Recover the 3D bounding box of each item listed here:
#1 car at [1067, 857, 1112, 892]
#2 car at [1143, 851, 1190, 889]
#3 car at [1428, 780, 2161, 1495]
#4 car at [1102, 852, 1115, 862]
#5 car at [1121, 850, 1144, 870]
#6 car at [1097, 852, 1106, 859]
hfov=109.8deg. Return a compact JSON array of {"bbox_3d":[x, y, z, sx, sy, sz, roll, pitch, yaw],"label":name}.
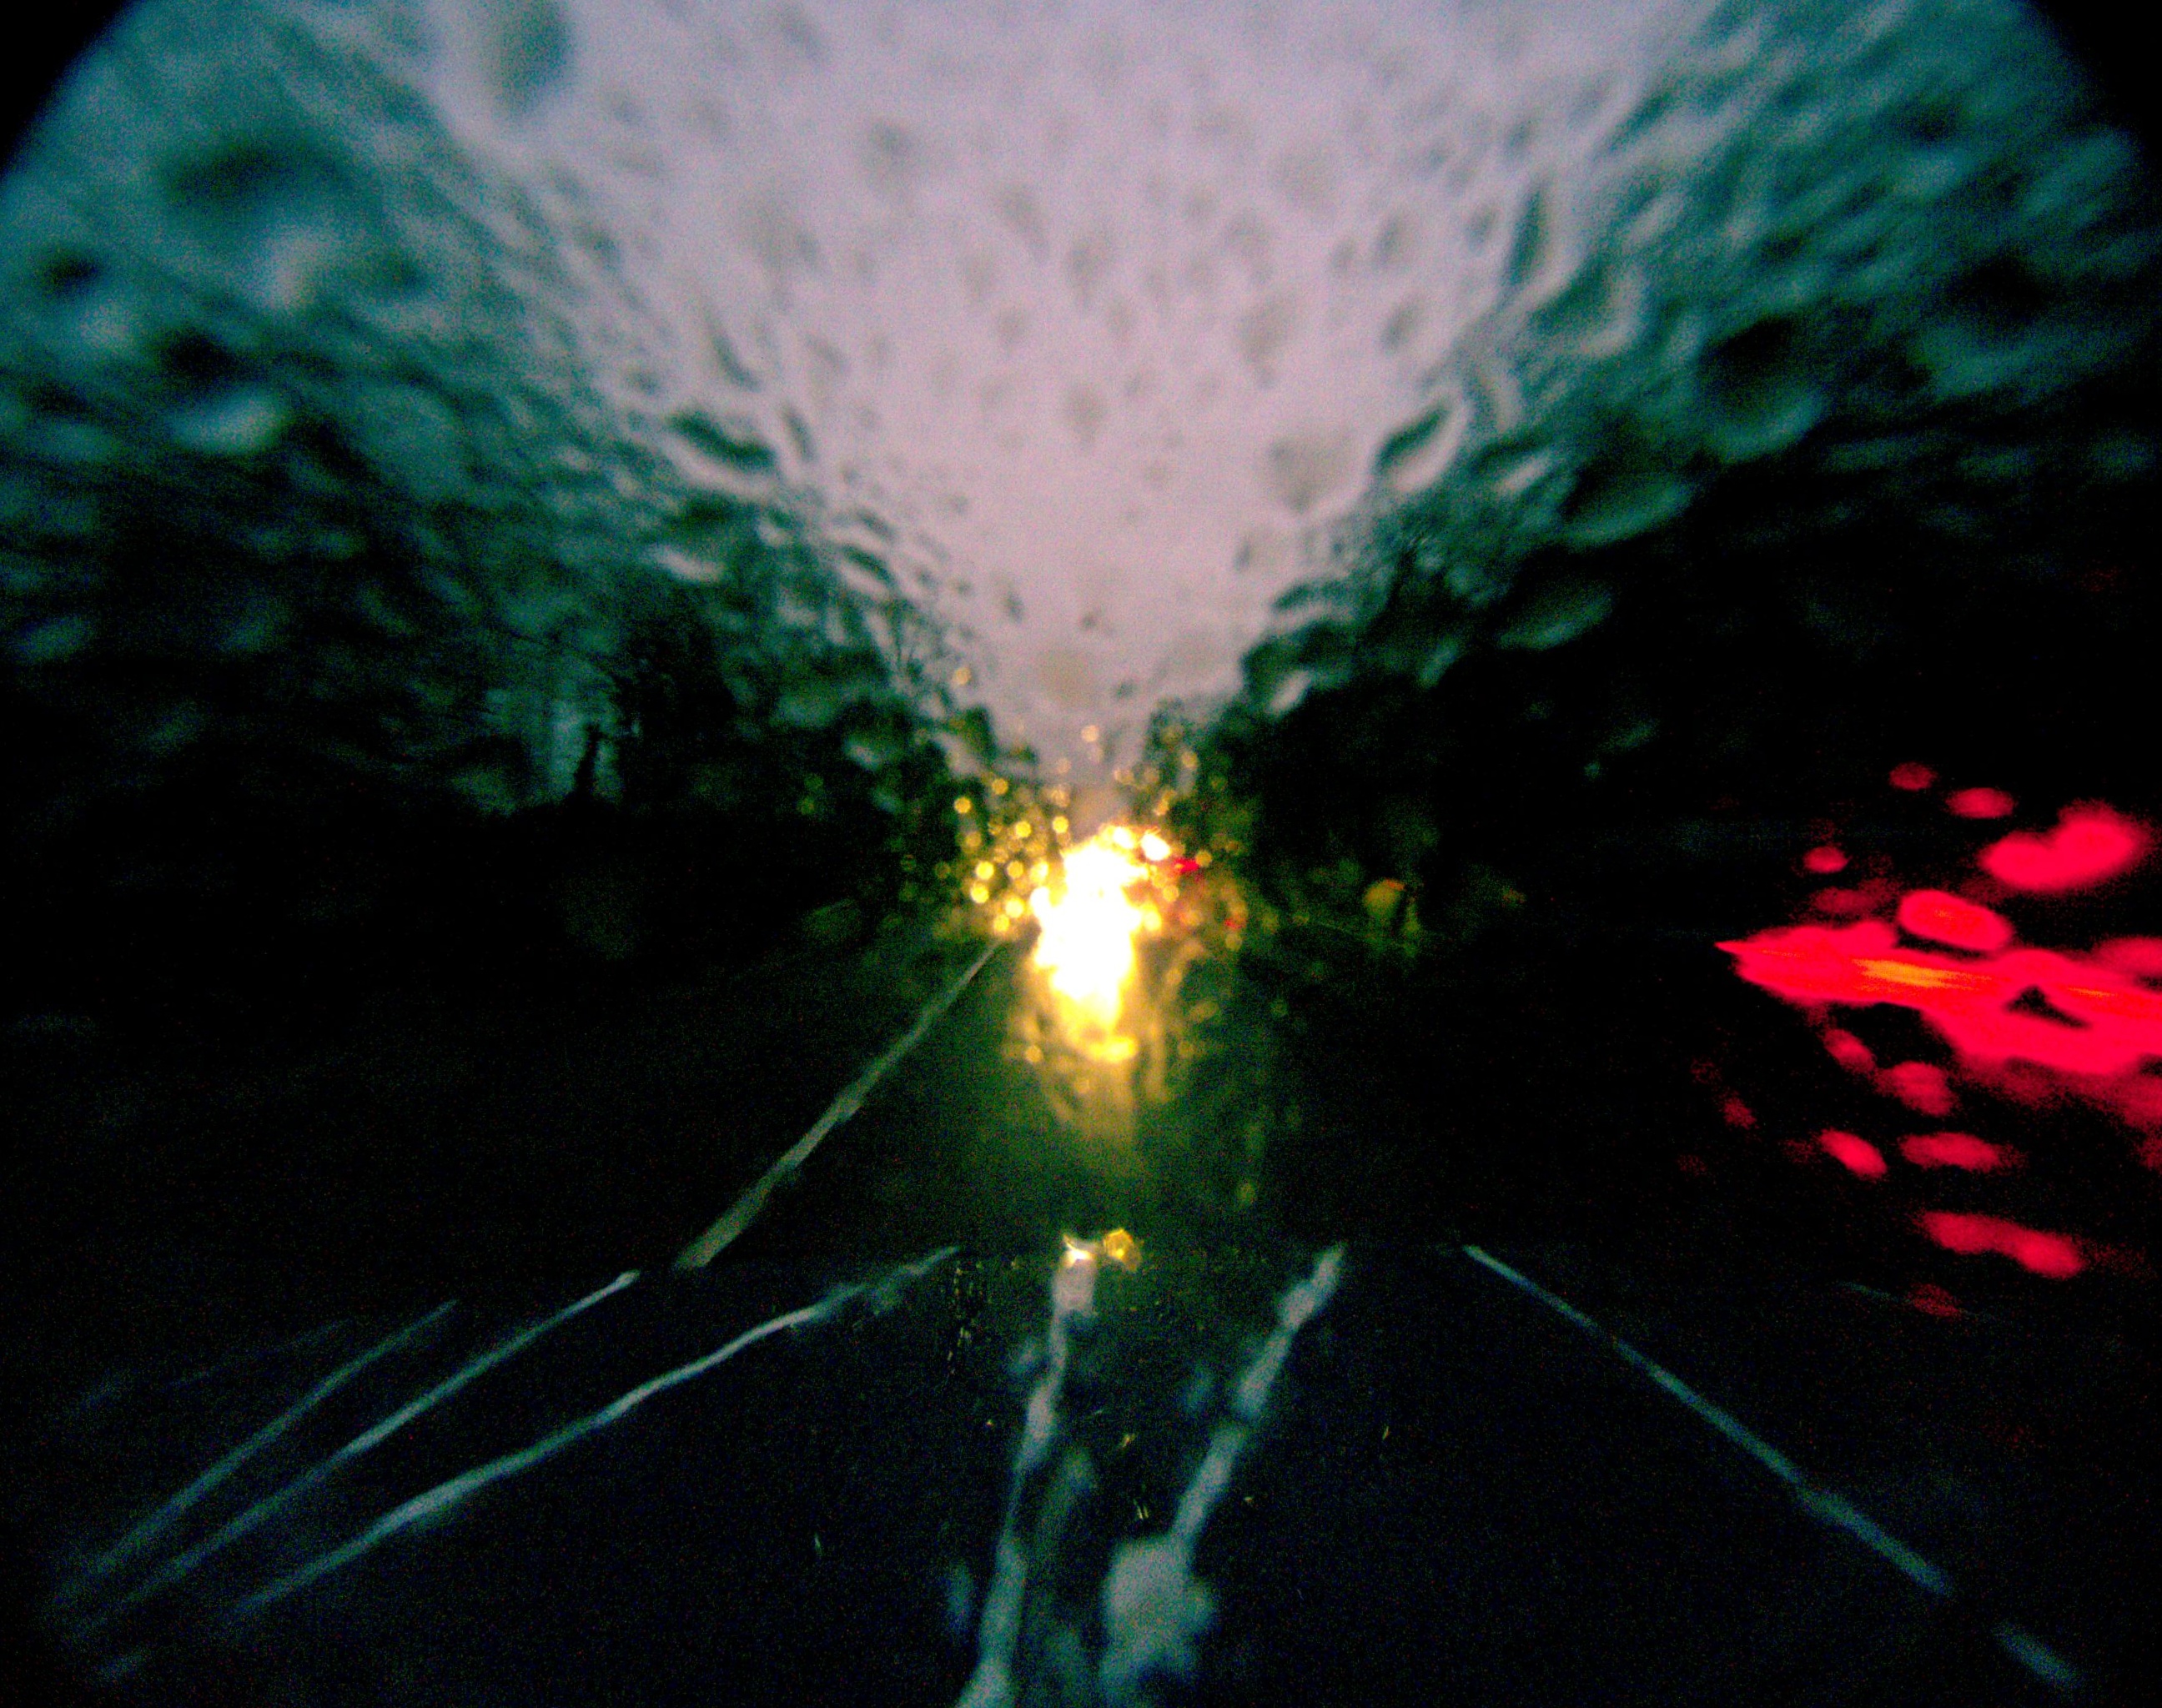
[{"bbox_3d":[0.388,0.835,33.310,1.845,1.390,4.000,-1,0,1],"label":"car"},{"bbox_3d":[3.725,0.666,33.556,1.585,1.541,3.999,-1,1,0],"label":"car"},{"bbox_3d":[3.606,0.692,3.916,1.710,1.812,4.285,-1,1,0],"label":"car"},{"bbox_3d":[4.088,0.378,113.022,1.769,1.449,4.507,0,1,0],"label":"car"},{"bbox_3d":[4.375,0.527,65.230,1.745,1.626,4.000,-1,1,1],"label":"car"},{"bbox_3d":[4.252,0.313,157.769,1.803,1.453,4.176,0,0,1],"label":"car"}]
